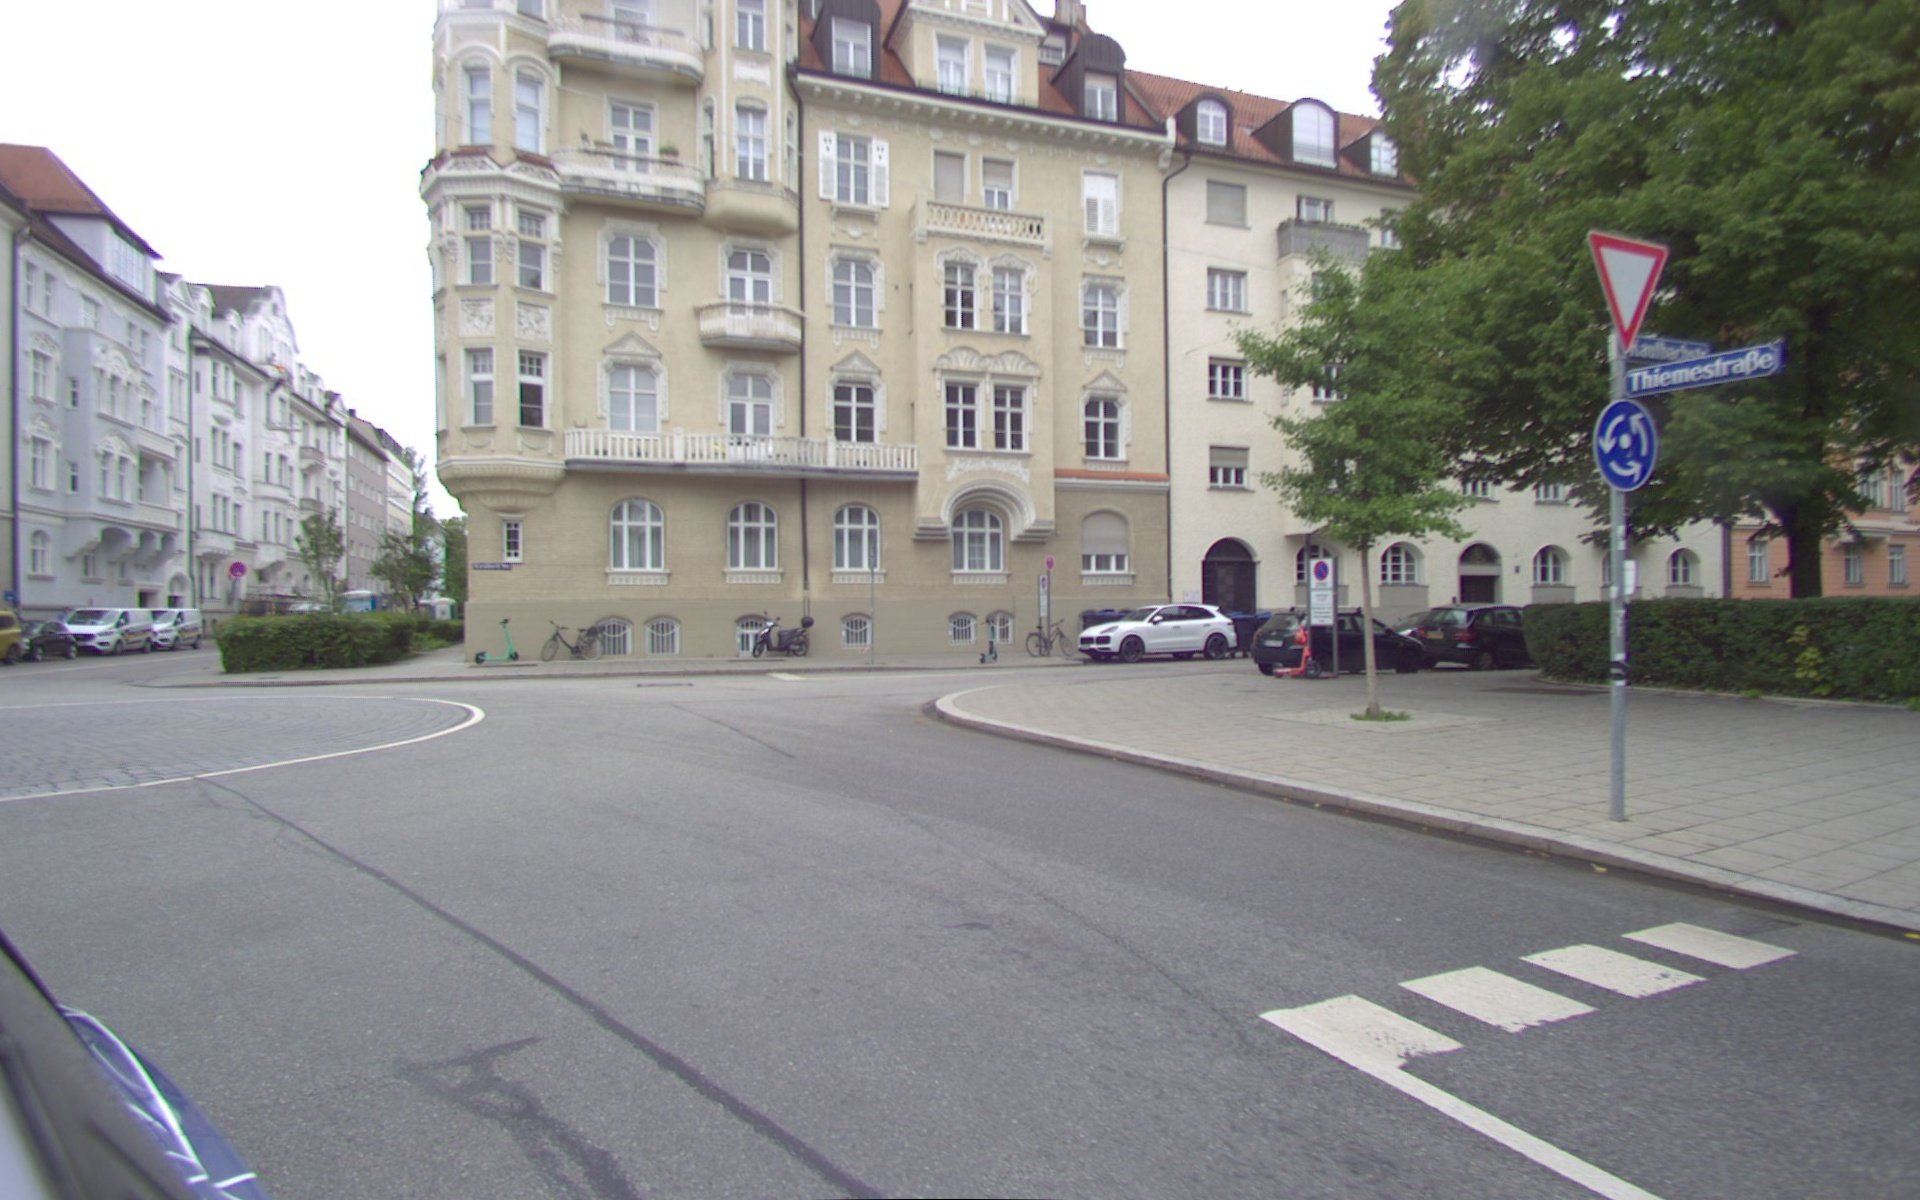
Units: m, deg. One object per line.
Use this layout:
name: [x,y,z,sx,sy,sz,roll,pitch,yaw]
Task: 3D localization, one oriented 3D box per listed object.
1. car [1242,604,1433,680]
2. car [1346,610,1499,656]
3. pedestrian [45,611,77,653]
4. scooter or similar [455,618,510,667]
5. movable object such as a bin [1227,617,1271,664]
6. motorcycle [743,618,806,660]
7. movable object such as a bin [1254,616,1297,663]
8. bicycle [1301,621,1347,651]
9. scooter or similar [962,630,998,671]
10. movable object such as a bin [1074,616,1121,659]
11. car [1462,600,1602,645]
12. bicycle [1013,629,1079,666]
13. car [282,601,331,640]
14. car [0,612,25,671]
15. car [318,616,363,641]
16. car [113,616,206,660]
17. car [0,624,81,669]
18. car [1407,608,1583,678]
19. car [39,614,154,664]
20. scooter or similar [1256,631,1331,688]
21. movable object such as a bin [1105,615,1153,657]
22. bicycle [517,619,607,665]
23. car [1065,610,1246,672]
car: [8.170,0.900,21.961,3.613,1.540,1.680,0,-3,-21]
car: [15.084,1.046,33.007,4.400,1.368,2.006,0,-1,-21]
pedestrian: [-41.002,1.459,46.184,0.840,1.917,0.748,0,-1,-16]
scooter or similar: [-12.937,1.134,27.421,1.264,1.281,0.460,0,-1,-38]
movable object such as a bin: [8.963,1.251,31.406,0.902,1.411,0.955,0,-1,-18]
motorcycle: [-5.551,1.163,30.218,1.715,1.195,0.745,0,-1,-24]
movable object such as a bin: [9.862,1.225,31.658,0.902,1.411,0.955,0,-1,-18]
bicycle: [13.478,1.336,37.476,1.783,1.077,0.552,0,-1,-29]
scooter or similar: [0.571,1.404,28.567,0.539,1.117,1.335,-1,-1,25]
movable object such as a bin: [4.569,1.231,33.757,1.160,1.381,1.151,0,-1,-18]
car: [19.695,0.756,34.864,4.108,1.461,2.006,0,-1,-21]
bicycle: [2.642,1.428,30.986,1.942,1.077,0.656,0,-1,-29]
car: [-46.642,1.458,72.345,2.047,2.709,5.463,1,-1,-24]
car: [-31.781,1.329,31.572,1.966,1.933,4.584,0,-1,-16]
car: [-41.815,1.903,68.349,1.887,1.670,4.616,0,-1,-22]
car: [-37.761,1.744,47.867,1.965,1.933,4.893,0,-1,-20]
car: [-33.667,1.657,36.508,1.610,1.525,3.897,-1,-1,-18]
car: [12.741,1.021,24.136,3.613,1.540,1.680,0,-3,-21]
car: [-35.547,1.554,41.835,1.965,1.933,4.901,0,-1,-20]
scooter or similar: [6.345,1.108,19.318,0.519,1.032,1.315,0,-1,-32]
movable object such as a bin: [5.682,1.198,34.073,1.160,1.381,1.151,0,-1,-18]
bicycle: [-11.137,1.167,28.331,2.299,1.212,0.701,0,-1,-25]
car: [5.773,1.152,29.895,4.904,1.688,2.006,0,-1,-21]
